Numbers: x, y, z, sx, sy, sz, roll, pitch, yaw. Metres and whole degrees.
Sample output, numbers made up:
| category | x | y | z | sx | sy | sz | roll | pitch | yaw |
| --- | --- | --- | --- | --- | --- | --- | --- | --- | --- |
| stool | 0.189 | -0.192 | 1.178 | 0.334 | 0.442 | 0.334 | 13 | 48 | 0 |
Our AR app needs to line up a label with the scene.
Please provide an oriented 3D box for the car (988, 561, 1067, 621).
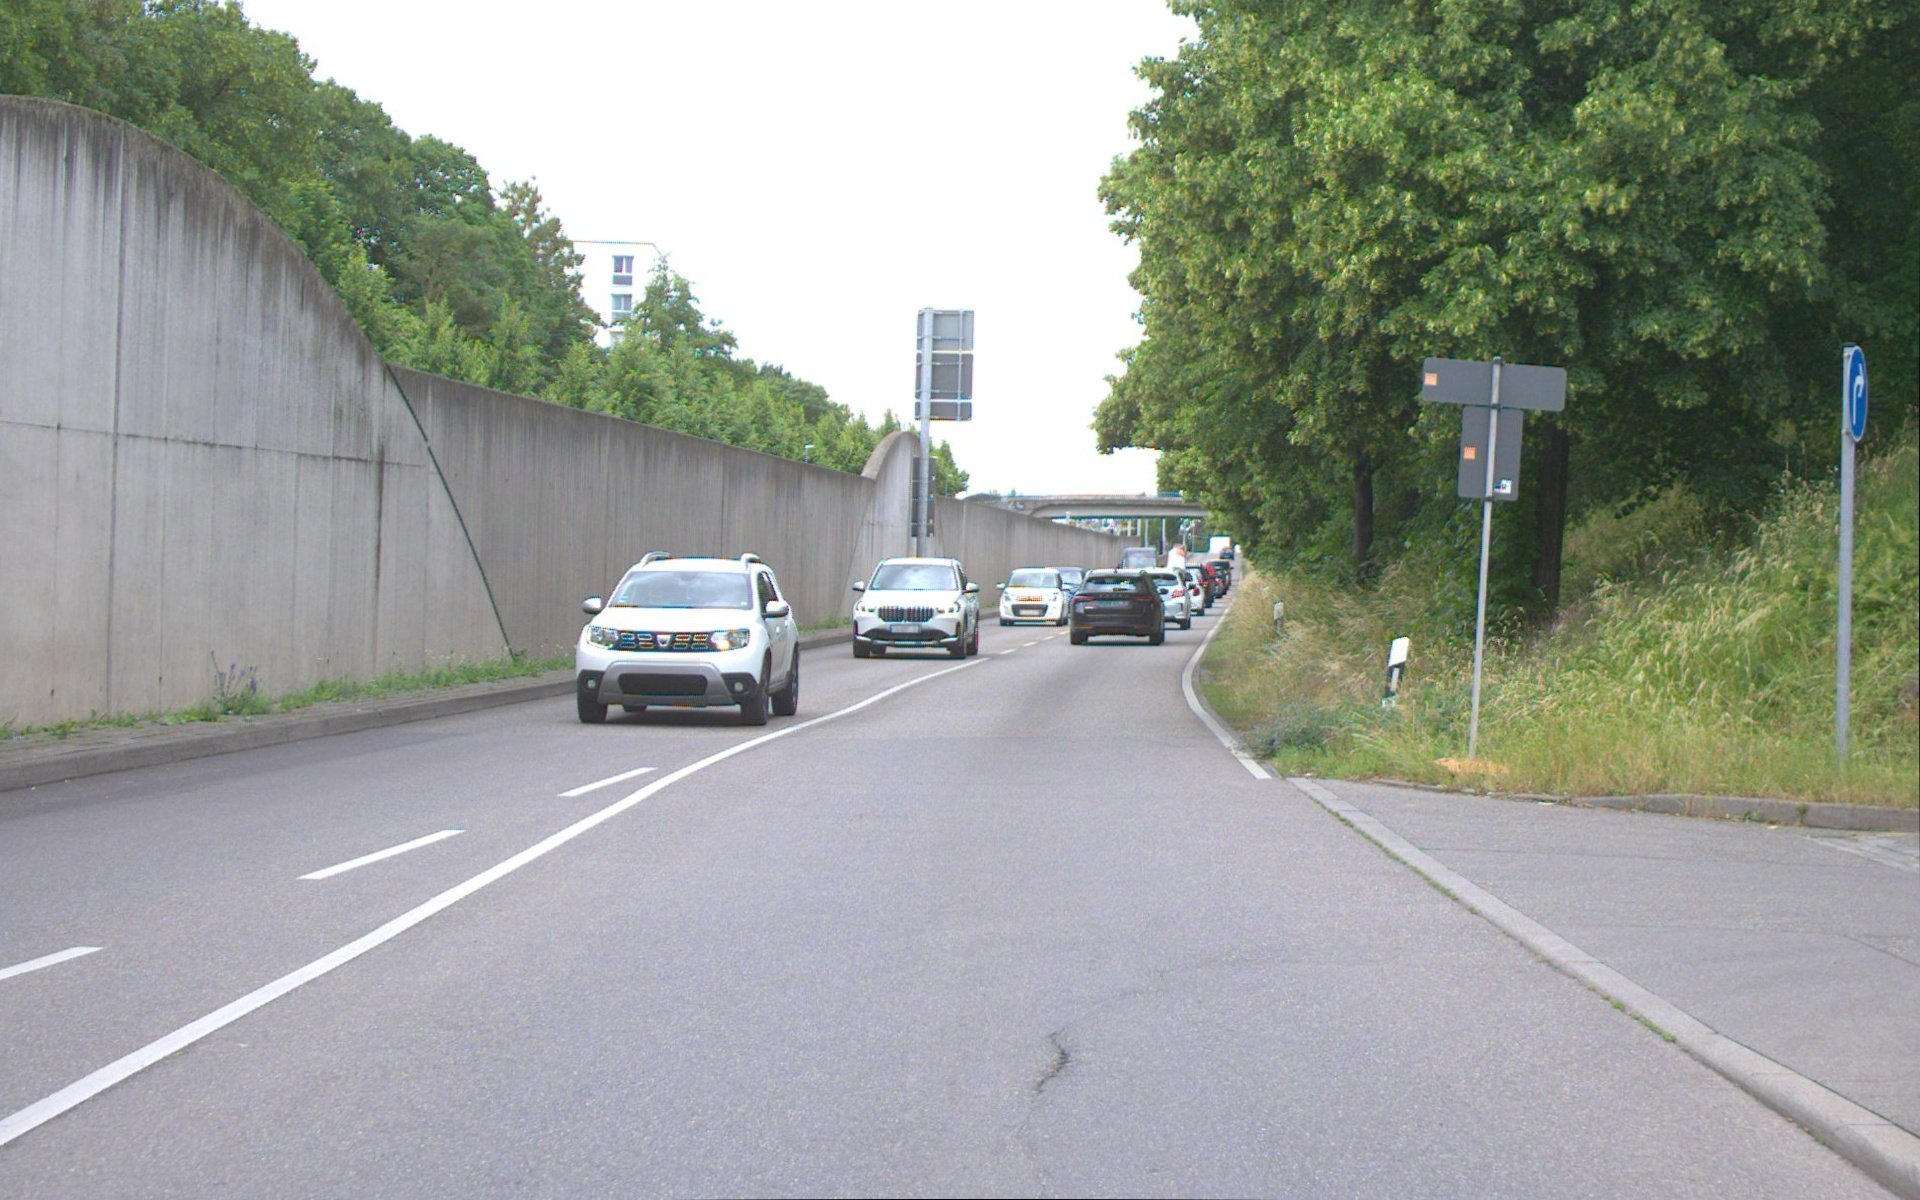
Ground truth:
| category | x | y | z | sx | sy | sz | roll | pitch | yaw |
| --- | --- | --- | --- | --- | --- | --- | --- | --- | --- |
| car | 1.767 | -0.247 | 89.024 | 1.915 | 1.490 | 4.208 | 1 | 1 | 2 |

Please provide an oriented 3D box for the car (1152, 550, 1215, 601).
| category | x | y | z | sx | sy | sz | roll | pitch | yaw |
| --- | --- | --- | --- | --- | --- | --- | --- | --- | --- |
| car | 7.084 | -0.769 | 109.172 | 1.867 | 1.485 | 4.256 | 4 | 0 | 3 |

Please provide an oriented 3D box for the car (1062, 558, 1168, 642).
| category | x | y | z | sx | sy | sz | roll | pitch | yaw |
| --- | --- | --- | --- | --- | --- | --- | --- | --- | --- |
| car | 3.062 | 0.022 | 67.370 | 1.754 | 1.518 | 4.035 | -2 | -1 | 7 |

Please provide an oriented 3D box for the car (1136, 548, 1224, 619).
| category | x | y | z | sx | sy | sz | roll | pitch | yaw |
| --- | --- | --- | --- | --- | --- | --- | --- | --- | --- |
| car | 5.403 | -0.377 | 83.983 | 1.755 | 1.518 | 4.035 | 4 | -1 | 8 |

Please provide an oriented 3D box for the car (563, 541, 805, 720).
| category | x | y | z | sx | sy | sz | roll | pitch | yaw |
| --- | --- | --- | --- | --- | --- | --- | --- | --- | --- |
| car | -2.654 | 0.264 | 34.002 | 1.862 | 1.626 | 4.208 | 1 | 1 | 2 |

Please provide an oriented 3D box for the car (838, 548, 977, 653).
| category | x | y | z | sx | sy | sz | roll | pitch | yaw |
| --- | --- | --- | --- | --- | --- | --- | --- | --- | --- |
| car | -0.831 | -0.012 | 56.948 | 1.890 | 1.626 | 4.425 | 1 | 1 | 4 |
